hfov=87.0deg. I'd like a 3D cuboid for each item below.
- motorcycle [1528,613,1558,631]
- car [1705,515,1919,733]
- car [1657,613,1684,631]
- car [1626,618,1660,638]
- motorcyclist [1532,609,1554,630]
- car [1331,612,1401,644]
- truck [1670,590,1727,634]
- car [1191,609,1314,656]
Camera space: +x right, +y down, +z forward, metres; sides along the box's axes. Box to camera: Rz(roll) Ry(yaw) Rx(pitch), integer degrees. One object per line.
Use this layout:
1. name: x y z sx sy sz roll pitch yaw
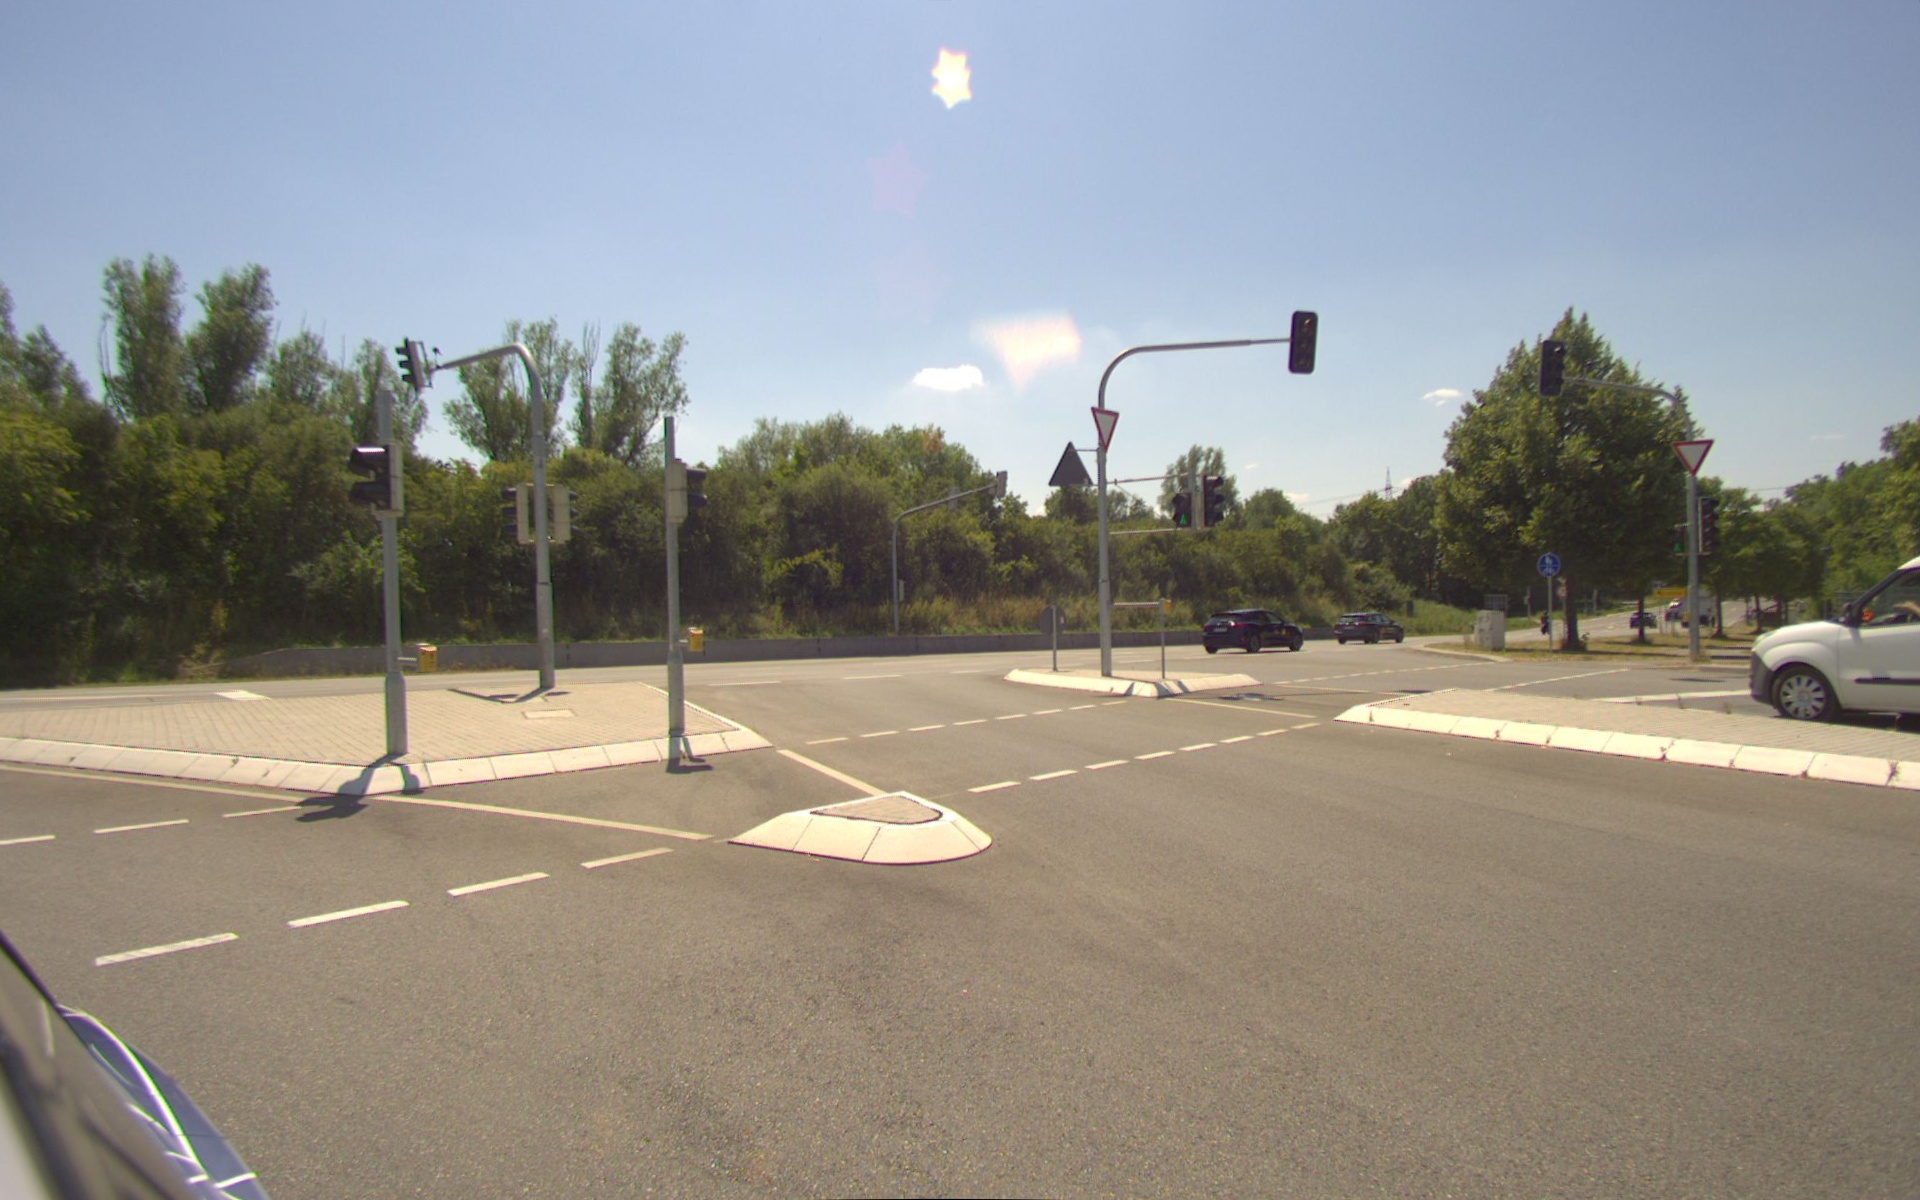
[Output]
1. motorcycle: 40.025 1.514 69.430 2.133 1.150 0.865 0 -2 -32
2. car: 9.738 0.151 8.982 1.968 1.957 4.882 -5 1 -10
3. car: 82.104 2.588 116.923 2.000 2.029 3.944 -2 -3 42
4. car: 63.642 2.625 94.262 2.000 1.763 3.942 -2 -3 44
5. motorcyclist: 39.997 1.359 69.421 1.155 1.423 0.878 2 -3 -32
6. car: 19.236 1.360 47.889 1.739 1.453 4.332 -2 -3 41
7. truck: 69.105 1.192 94.646 6.110 3.869 3.279 2 -3 -44
8. car: 9.880 1.061 34.049 4.228 1.453 1.743 0 -2 -37
